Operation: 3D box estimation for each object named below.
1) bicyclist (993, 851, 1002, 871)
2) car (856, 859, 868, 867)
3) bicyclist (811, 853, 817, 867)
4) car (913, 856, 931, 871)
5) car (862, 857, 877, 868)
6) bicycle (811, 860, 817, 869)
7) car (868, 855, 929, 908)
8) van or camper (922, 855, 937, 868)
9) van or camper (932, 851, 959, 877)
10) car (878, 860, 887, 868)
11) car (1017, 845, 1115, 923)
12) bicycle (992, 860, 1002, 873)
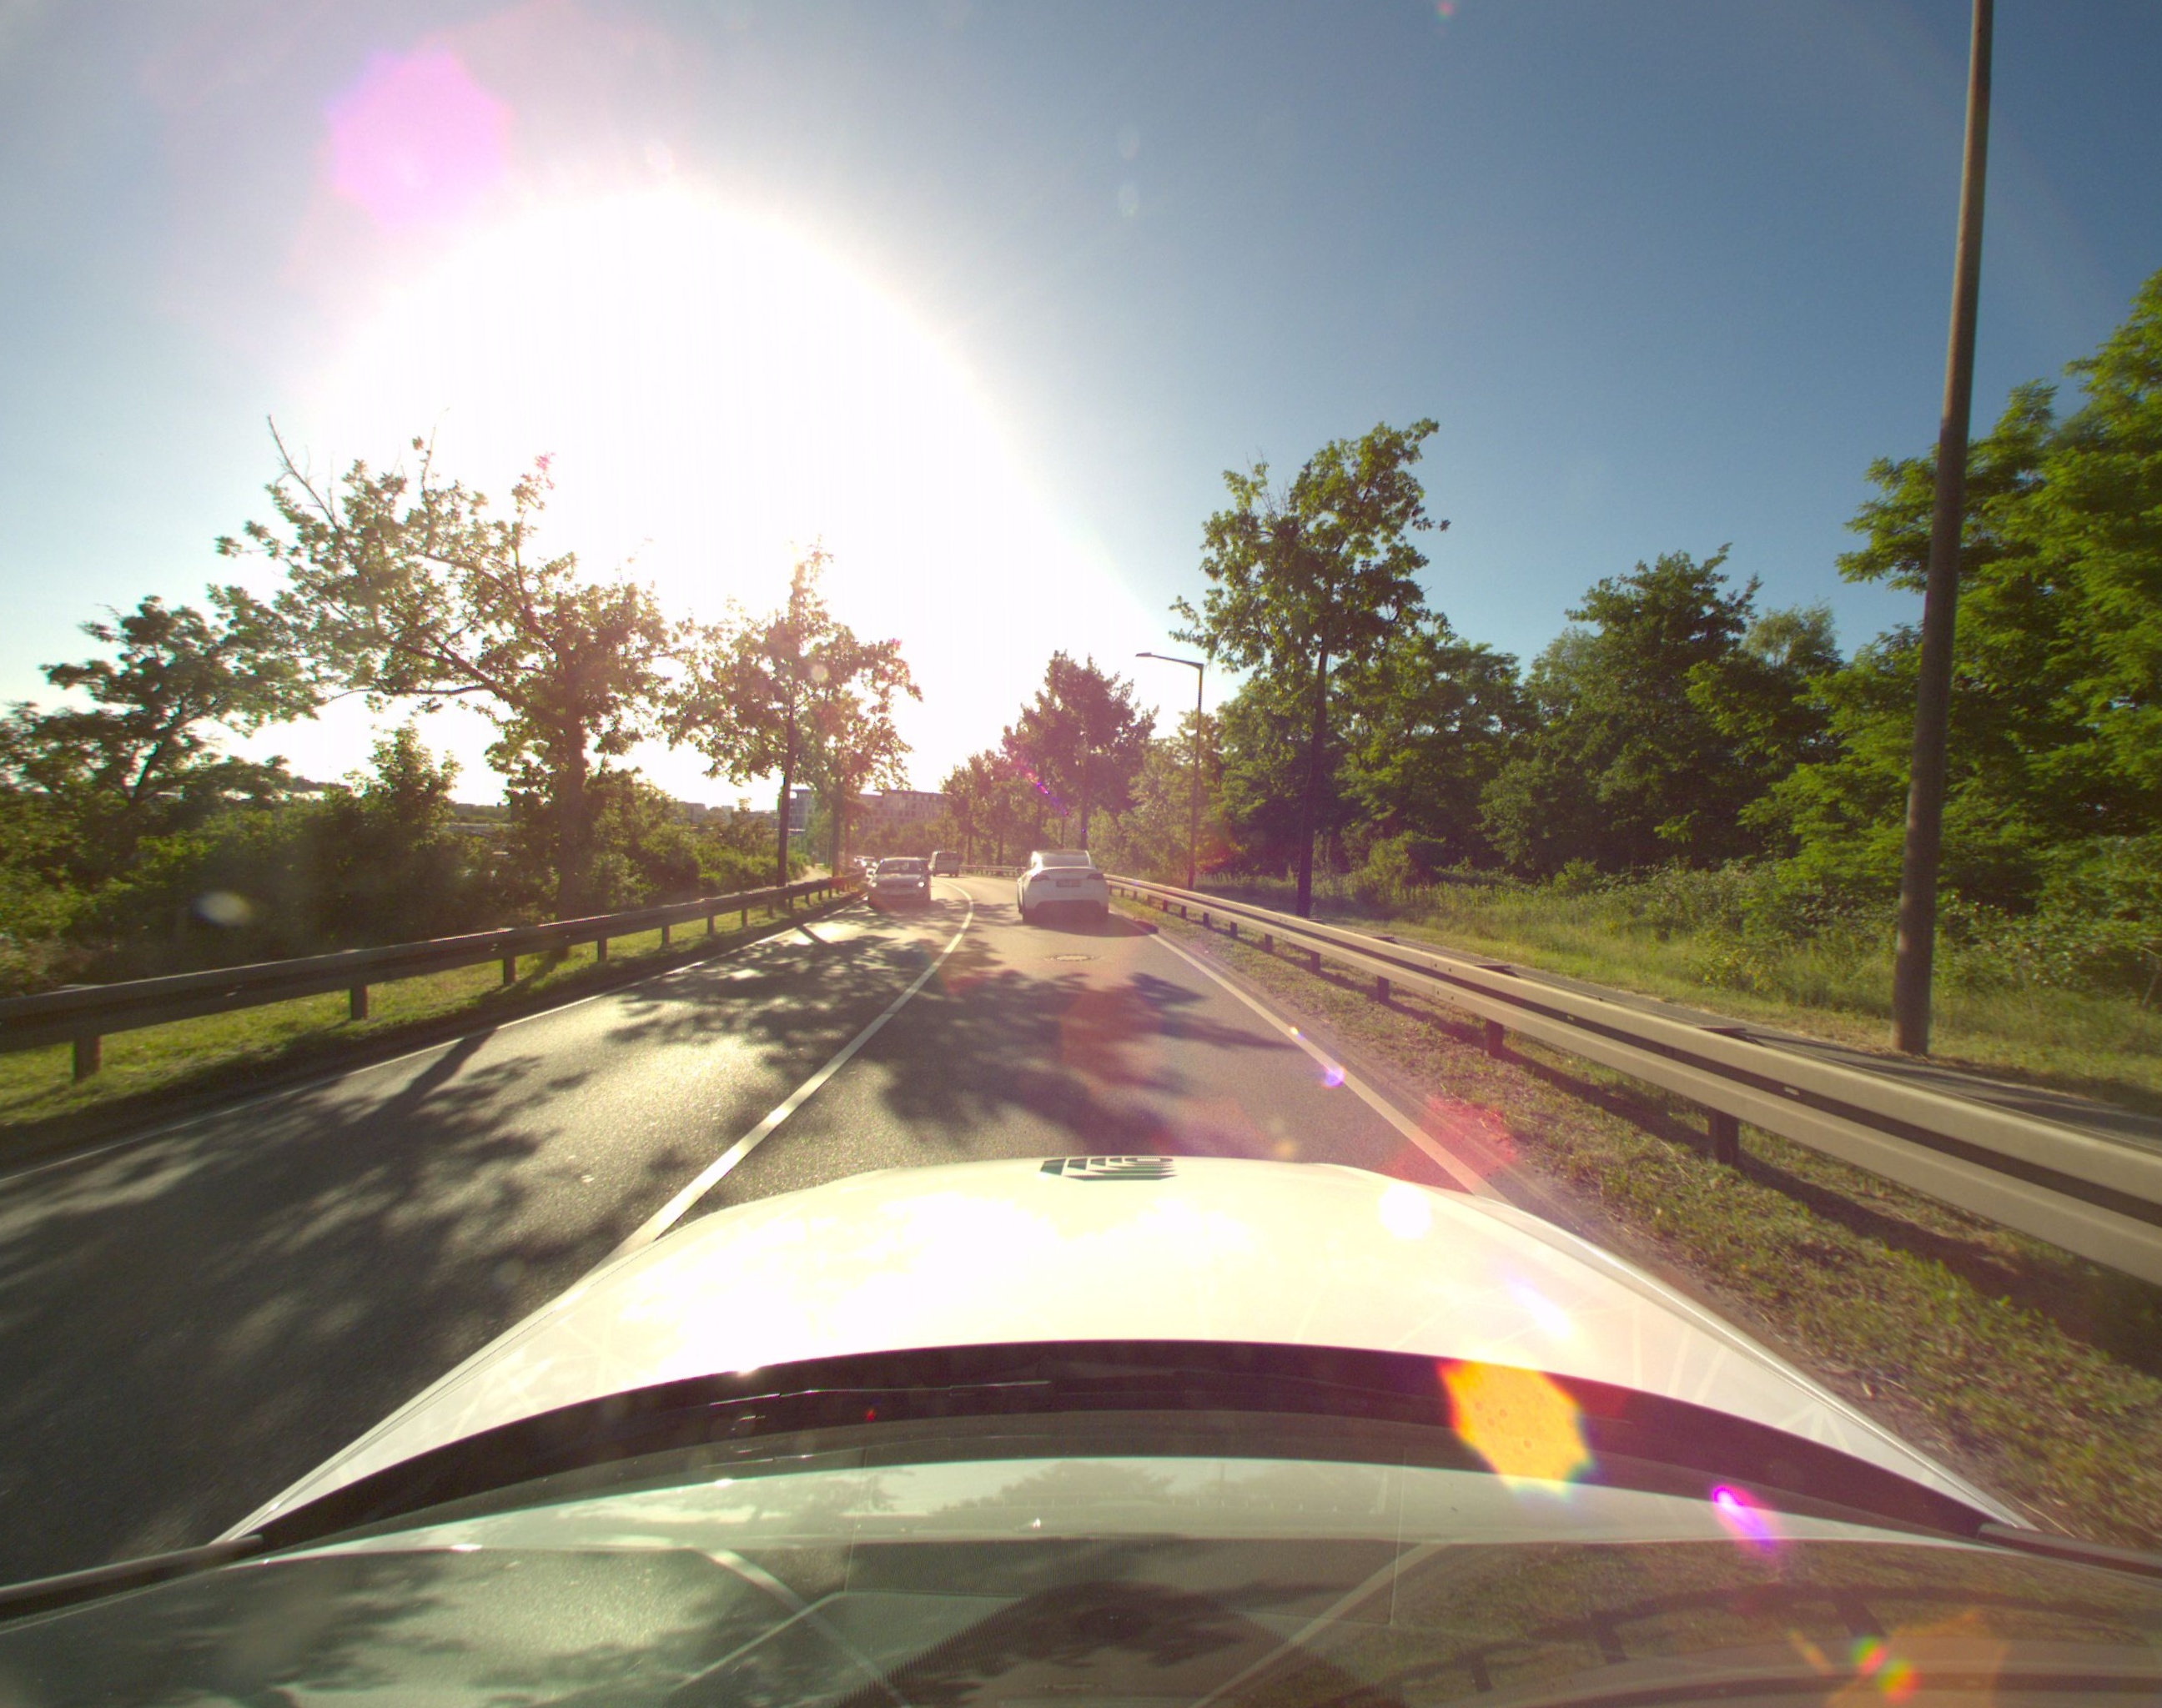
[{"bbox_3d":[-7.094,0.598,68.886,0.706,1.578,1.003,0,-3,-4],"label":"bicyclist"},{"bbox_3d":[-39.618,1.641,147.008,1.855,1.492,4.687,0,0,-18],"label":"car"},{"bbox_3d":[-31.298,0.684,95.436,0.653,1.623,0.869,0,-1,-19],"label":"bicyclist"},{"bbox_3d":[-15.250,0.912,78.049,1.606,1.434,3.662,2,-1,-13],"label":"car"},{"bbox_3d":[-28.228,1.128,108.588,1.813,1.554,4.118,0,0,-16],"label":"car"},{"bbox_3d":[-31.211,1.218,95.193,0.662,1.095,2.095,0,0,-18],"label":"bicycle"},{"bbox_3d":[-5.586,0.788,25.324,1.695,1.518,3.966,0,0,-11],"label":"car"},{"bbox_3d":[-23.477,1.111,126.300,1.824,1.791,4.534,3,1,-7],"label":"van or camper"},{"bbox_3d":[-10.350,0.721,62.084,1.959,1.884,4.862,0,0,-11],"label":"van or camper"},{"bbox_3d":[-41.005,2.058,168.316,1.695,1.441,4.192,0,0,-17],"label":"car"},{"bbox_3d":[-0.471,0.637,19.349,1.912,1.641,4.400,0,0,-7],"label":"car"},{"bbox_3d":[-7.093,1.040,68.877,0.699,1.074,1.918,0,-2,-4],"label":"bicycle"}]
